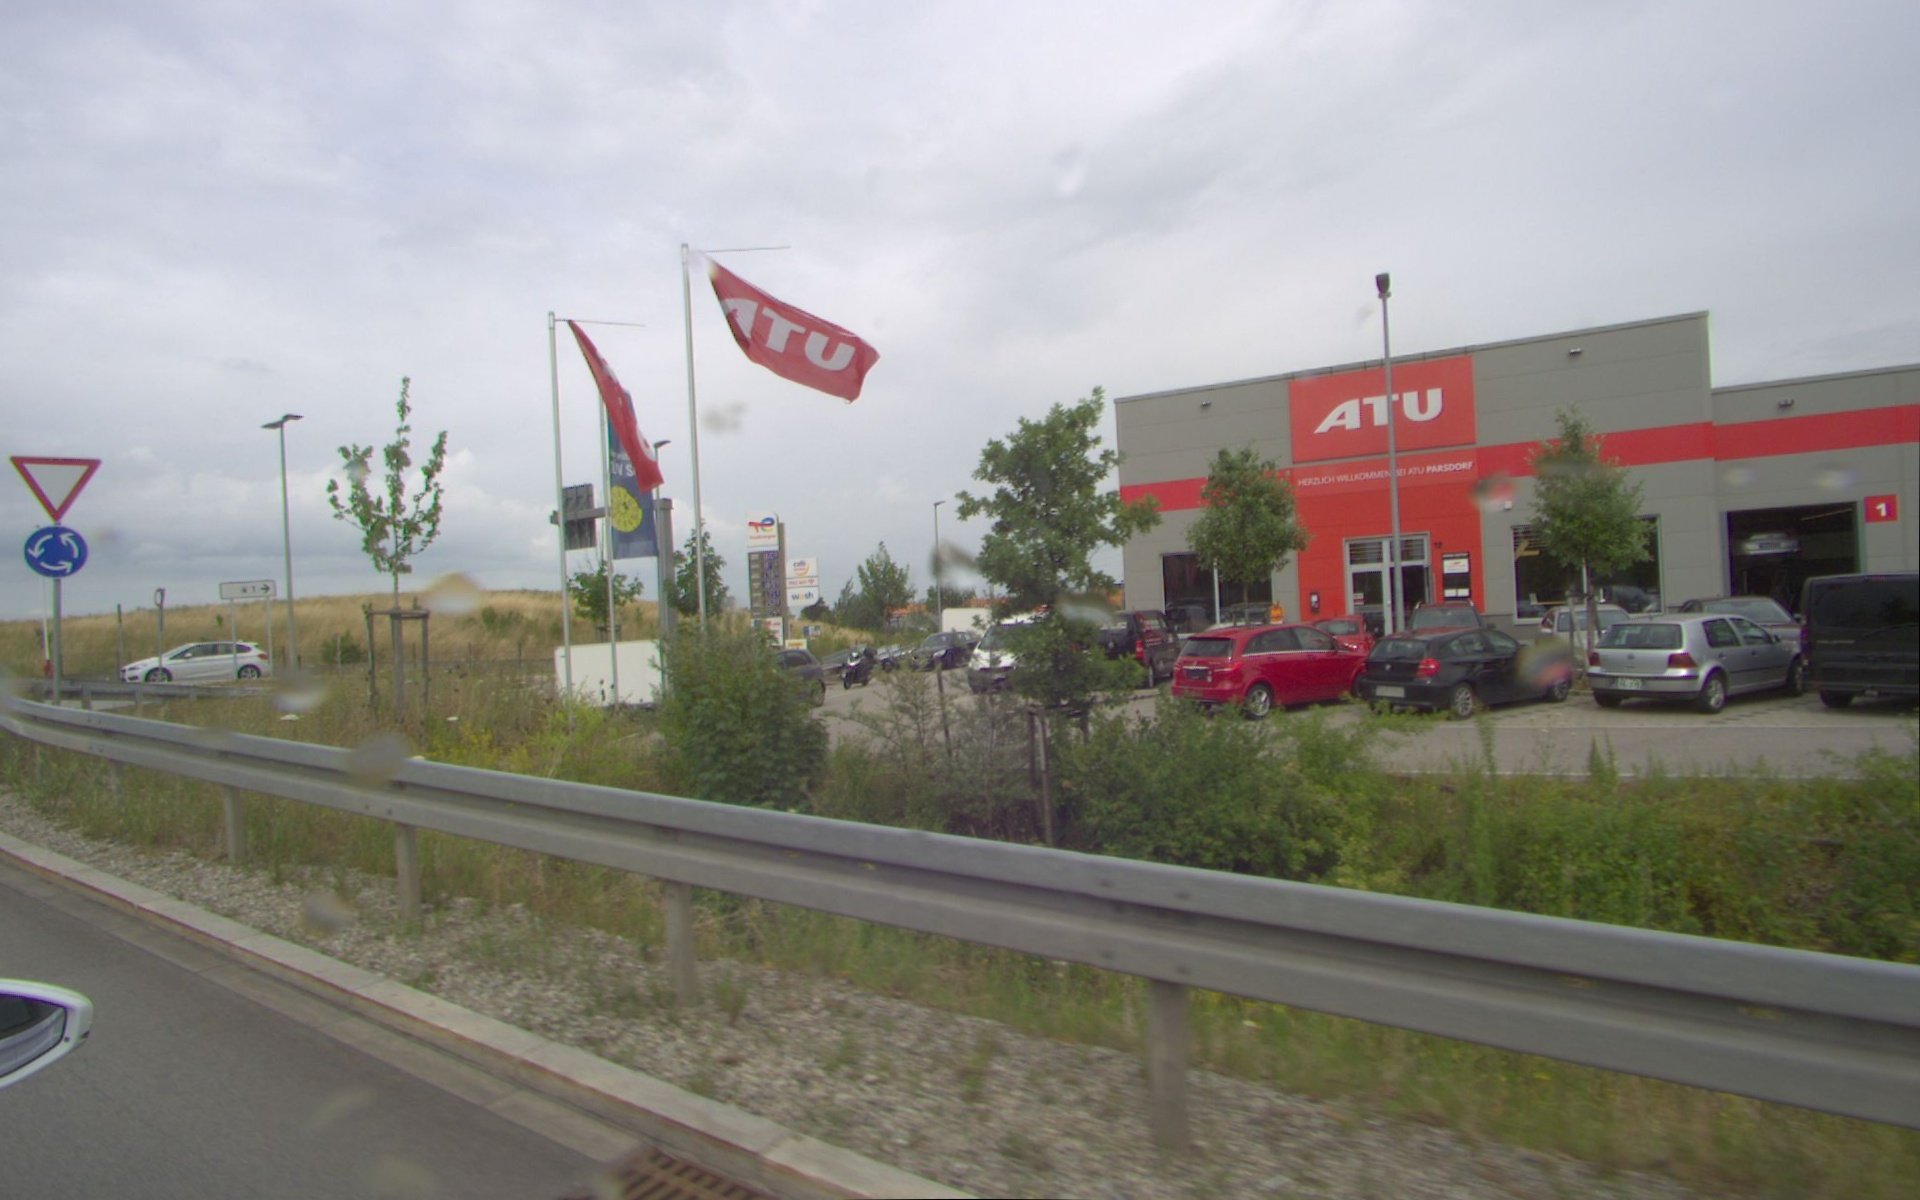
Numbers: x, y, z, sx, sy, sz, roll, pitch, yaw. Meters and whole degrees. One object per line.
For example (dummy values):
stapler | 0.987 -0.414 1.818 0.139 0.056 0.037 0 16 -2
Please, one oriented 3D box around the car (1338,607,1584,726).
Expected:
car | 8.602 1.056 17.149 4.015 1.600 1.763 -4 1 -29

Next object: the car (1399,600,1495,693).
car | 10.796 1.039 22.416 1.564 1.859 4.193 -2 -3 22

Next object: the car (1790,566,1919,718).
car | 14.260 0.503 14.553 4.013 1.933 1.898 -3 1 -26

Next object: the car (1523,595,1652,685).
car | 12.904 0.842 20.794 1.564 1.658 3.692 -2 -3 22

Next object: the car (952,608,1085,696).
car | 1.681 1.385 26.397 1.966 2.072 5.069 -2 -3 22

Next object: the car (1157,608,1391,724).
car | 5.882 1.180 18.692 4.015 1.600 1.764 -6 0 -28

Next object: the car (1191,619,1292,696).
car | 7.098 1.368 24.945 1.883 1.662 4.664 -3 -1 22

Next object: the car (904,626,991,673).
car | -0.520 1.901 37.515 1.887 1.593 3.730 0 -4 -24

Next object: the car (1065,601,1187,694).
car | 4.325 1.115 25.377 1.966 1.998 5.064 -3 0 22

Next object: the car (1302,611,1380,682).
car | 9.171 1.115 24.042 1.564 1.518 4.193 -2 -3 22

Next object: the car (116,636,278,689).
car | -27.574 2.217 36.310 1.763 1.650 4.393 -1 0 39

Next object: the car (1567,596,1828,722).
car | 11.917 0.866 16.149 4.014 1.600 1.764 -4 1 -27

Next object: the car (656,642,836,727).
car | -5.104 2.002 24.684 1.933 1.697 4.823 -3 -1 22
